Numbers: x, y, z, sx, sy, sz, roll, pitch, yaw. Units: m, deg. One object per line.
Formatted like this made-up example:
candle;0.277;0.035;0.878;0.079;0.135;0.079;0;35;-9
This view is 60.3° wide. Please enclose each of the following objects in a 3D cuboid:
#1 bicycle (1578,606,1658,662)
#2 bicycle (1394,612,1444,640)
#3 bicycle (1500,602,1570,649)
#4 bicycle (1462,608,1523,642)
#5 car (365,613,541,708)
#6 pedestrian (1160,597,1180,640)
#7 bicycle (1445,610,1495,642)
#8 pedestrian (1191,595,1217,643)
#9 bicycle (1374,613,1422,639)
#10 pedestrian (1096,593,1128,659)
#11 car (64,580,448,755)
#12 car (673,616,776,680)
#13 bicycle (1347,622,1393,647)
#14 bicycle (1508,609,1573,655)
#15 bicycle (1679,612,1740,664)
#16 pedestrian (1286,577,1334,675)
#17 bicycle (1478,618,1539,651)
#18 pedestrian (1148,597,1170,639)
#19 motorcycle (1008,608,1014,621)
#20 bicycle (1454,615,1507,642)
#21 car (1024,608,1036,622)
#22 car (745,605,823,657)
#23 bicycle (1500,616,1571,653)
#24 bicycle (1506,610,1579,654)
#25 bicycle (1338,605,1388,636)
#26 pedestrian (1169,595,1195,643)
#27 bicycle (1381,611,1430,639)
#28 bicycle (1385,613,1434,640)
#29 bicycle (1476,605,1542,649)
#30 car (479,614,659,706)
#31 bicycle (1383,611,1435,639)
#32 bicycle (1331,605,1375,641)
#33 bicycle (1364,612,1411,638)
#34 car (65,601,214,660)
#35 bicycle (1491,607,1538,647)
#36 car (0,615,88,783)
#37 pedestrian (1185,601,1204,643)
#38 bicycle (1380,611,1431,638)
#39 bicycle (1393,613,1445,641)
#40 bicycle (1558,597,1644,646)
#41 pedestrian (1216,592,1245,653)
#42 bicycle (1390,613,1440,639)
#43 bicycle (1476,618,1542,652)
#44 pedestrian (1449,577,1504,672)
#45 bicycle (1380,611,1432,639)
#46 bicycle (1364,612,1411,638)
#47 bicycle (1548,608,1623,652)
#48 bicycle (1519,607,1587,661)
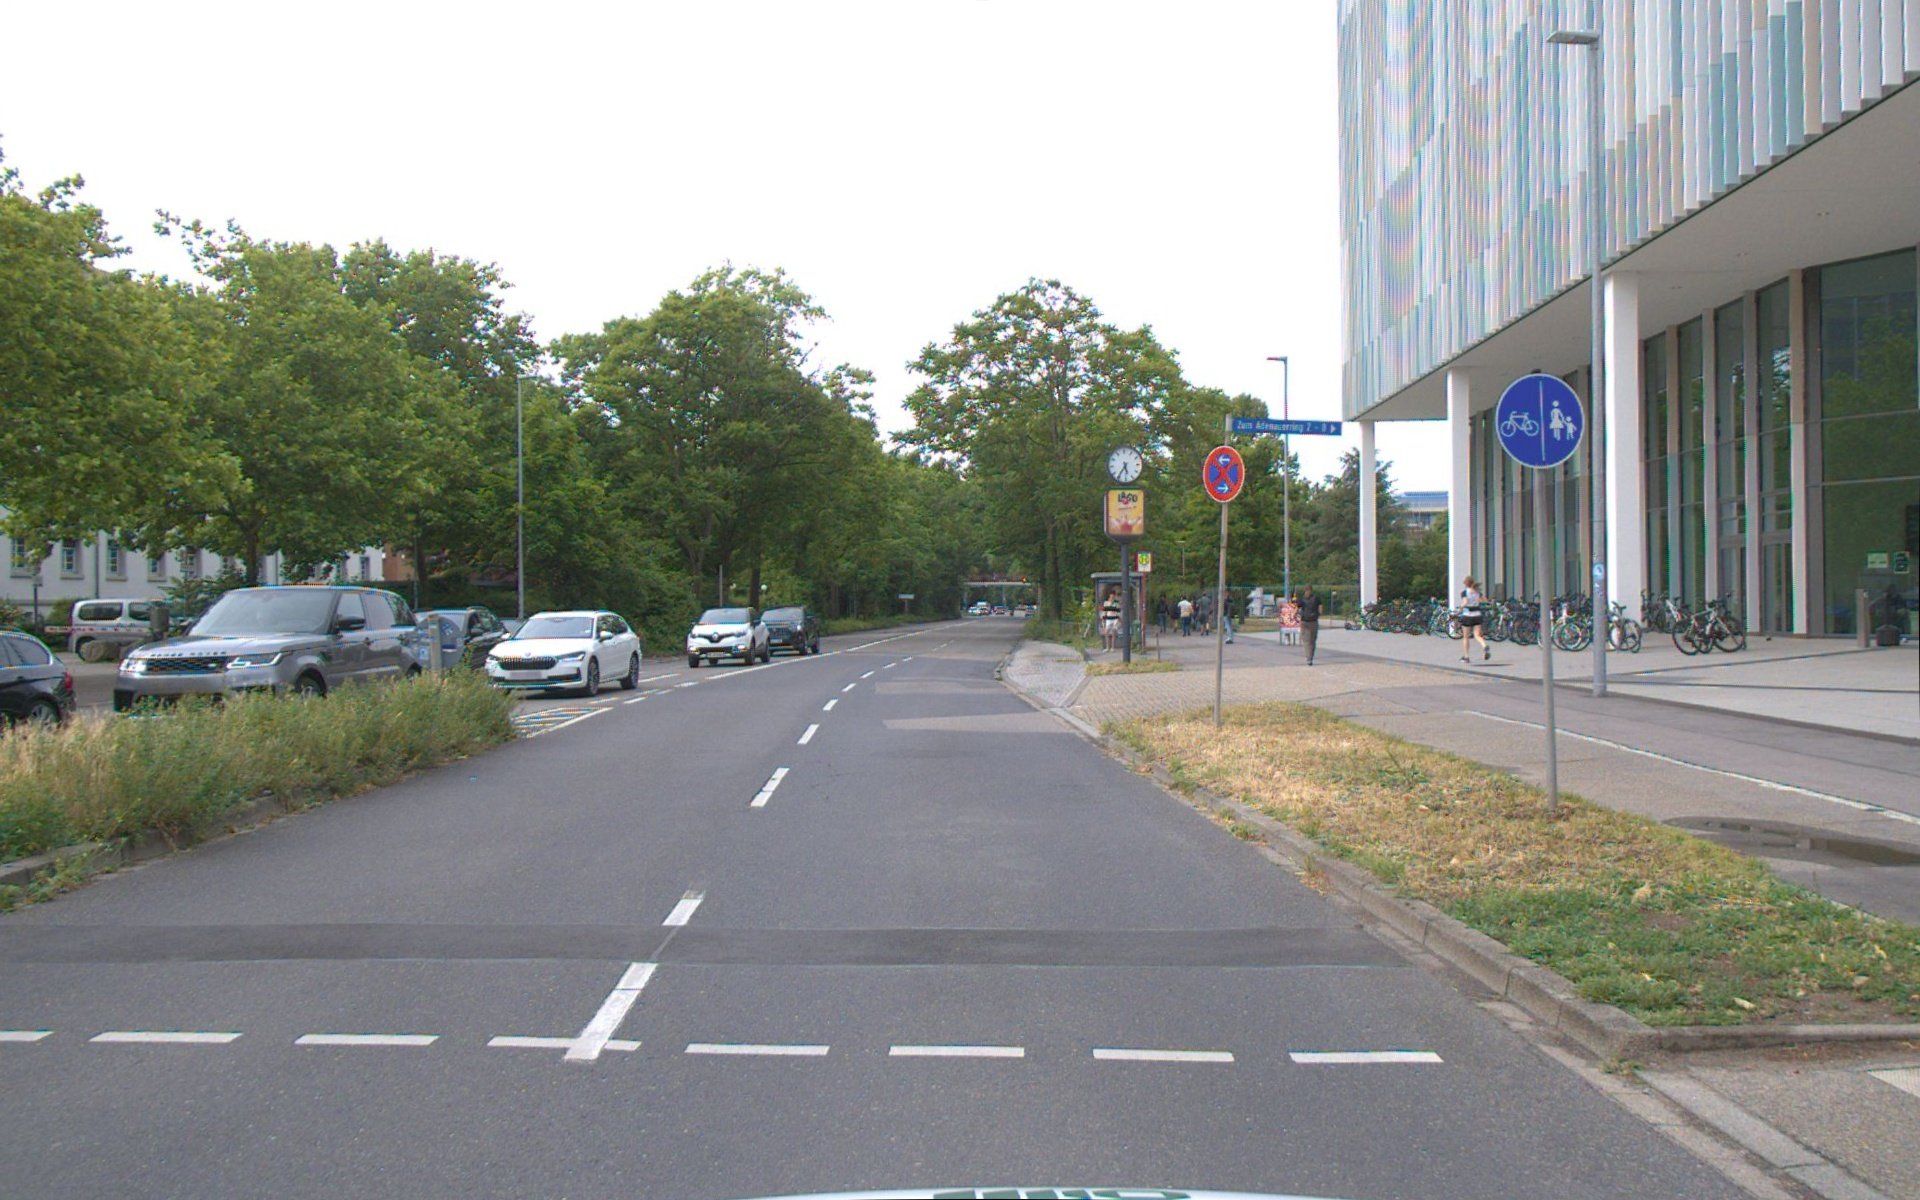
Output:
bicycle;13.692;0.699;34.483;0.596;1.099;1.959;-3;0;-8
bicycle;15.837;0.899;57.096;1.572;0.890;0.556;-2;-1;3
bicycle;14.935;0.673;42.981;1.609;1.110;0.573;-4;-1;11
bicycle;15.771;0.742;49.026;1.655;0.963;0.517;-1;-1;9
car;-10.062;1.155;33.197;1.952;1.723;4.469;-1;-1;3
pedestrian;10.354;0.911;81.611;0.807;2.049;0.720;-1;-1;-2
bicycle;14.772;0.754;47.905;1.256;0.890;0.556;-2;-1;3
pedestrian;10.569;0.807;71.600;0.907;2.049;1.039;-1;-1;-1
bicycle;15.819;0.951;59.816;1.572;0.890;0.556;-2;-1;3
pedestrian;4.933;0.832;53.772;0.893;2.048;0.854;-3;1;2
car;-7.762;0.675;18.890;1.951;1.717;4.950;1;0;4
car;-6.340;1.258;44.999;1.952;1.574;4.181;-2;-1;3
bicycle;15.442;1.303;62.313;1.572;0.890;0.556;-1;-1;3
bicycle;14.327;0.780;40.855;1.371;1.062;0.559;-3;-1;3
bicycle;14.789;0.738;32.603;1.472;0.945;0.435;-2;1;-37
pedestrian;7.585;0.566;35.894;0.825;2.049;0.895;-3;-1;4
bicycle;15.445;0.974;46.601;1.572;0.912;0.366;-1;-1;3
pedestrian;9.870;0.892;82.056;0.907;2.049;1.039;-1;-1;-1
motorcycle;7.914;2.232;256.926;0.969;1.970;2.670;1;0;3
bicycle;15.613;0.855;49.648;1.404;0.759;0.556;-2;-1;3
car;10.668;2.259;253.267;1.805;2.049;4.001;1;0;3
car;-5.817;1.010;55.225;1.863;1.621;4.518;-1;-1;3
bicycle;14.611;0.866;42.008;1.572;0.890;0.556;-1;-1;3
bicycle;14.581;0.789;41.411;1.573;0.999;0.556;-4;-1;3
bicycle;15.695;0.789;64.393;1.757;1.100;0.626;-3;-1;1
pedestrian;9.620;0.818;71.710;0.907;2.049;1.039;-1;-1;-1
bicycle;14.607;0.818;54.256;1.424;0.854;0.556;-2;-1;3
bicycle;15.933;0.931;58.619;1.572;0.890;0.556;-2;-1;3
bicycle;15.159;0.736;45.696;1.609;1.121;0.572;-3;-1;6
car;-7.017;1.029;30.234;1.864;1.491;4.912;1;0;3
bicycle;15.207;0.831;56.043;1.572;0.890;0.556;-2;-1;3
bicycle;15.723;0.913;66.170;1.612;1.356;0.463;-4;-1;16
bicycle;15.693;0.928;60.768;1.572;0.890;0.556;-2;-1;3
car;-24.088;0.885;48.648;3.512;1.630;1.652;1;0;1
bicycle;15.662;0.760;46.707;1.172;1.068;0.435;-2;-1;9
car;-10.707;1.027;16.559;1.663;1.719;4.001;-1;-1;3
pedestrian;11.596;1.099;81.675;0.807;2.049;0.720;-2;-1;2
bicycle;15.245;0.834;56.626;1.572;0.890;0.556;-2;-1;3
bicycle;14.701;0.872;53.015;1.500;0.848;0.556;-2;-1;3
bicycle;16.647;0.562;42.976;1.954;1.164;0.644;-4;-1;45
pedestrian;9.188;0.771;56.171;0.825;2.049;0.895;-1;-1;3
bicycle;15.862;0.909;57.663;1.570;0.900;0.516;-1;-1;3
bicycle;14.856;0.951;44.780;1.572;0.890;0.556;-1;-1;3
pedestrian;10.401;0.487;33.324;0.825;1.868;0.894;-1;-1;2
bicycle;14.833;0.825;55.041;1.572;0.890;0.556;-2;-1;3
bicycle;15.870;0.925;61.419;1.572;0.890;0.556;-2;-1;3
bicycle;15.085;0.732;39.899;1.572;0.952;0.569;-4;0;14
bicycle;13.355;0.760;37.309;0.623;1.160;2.200;-4;-1;-1
